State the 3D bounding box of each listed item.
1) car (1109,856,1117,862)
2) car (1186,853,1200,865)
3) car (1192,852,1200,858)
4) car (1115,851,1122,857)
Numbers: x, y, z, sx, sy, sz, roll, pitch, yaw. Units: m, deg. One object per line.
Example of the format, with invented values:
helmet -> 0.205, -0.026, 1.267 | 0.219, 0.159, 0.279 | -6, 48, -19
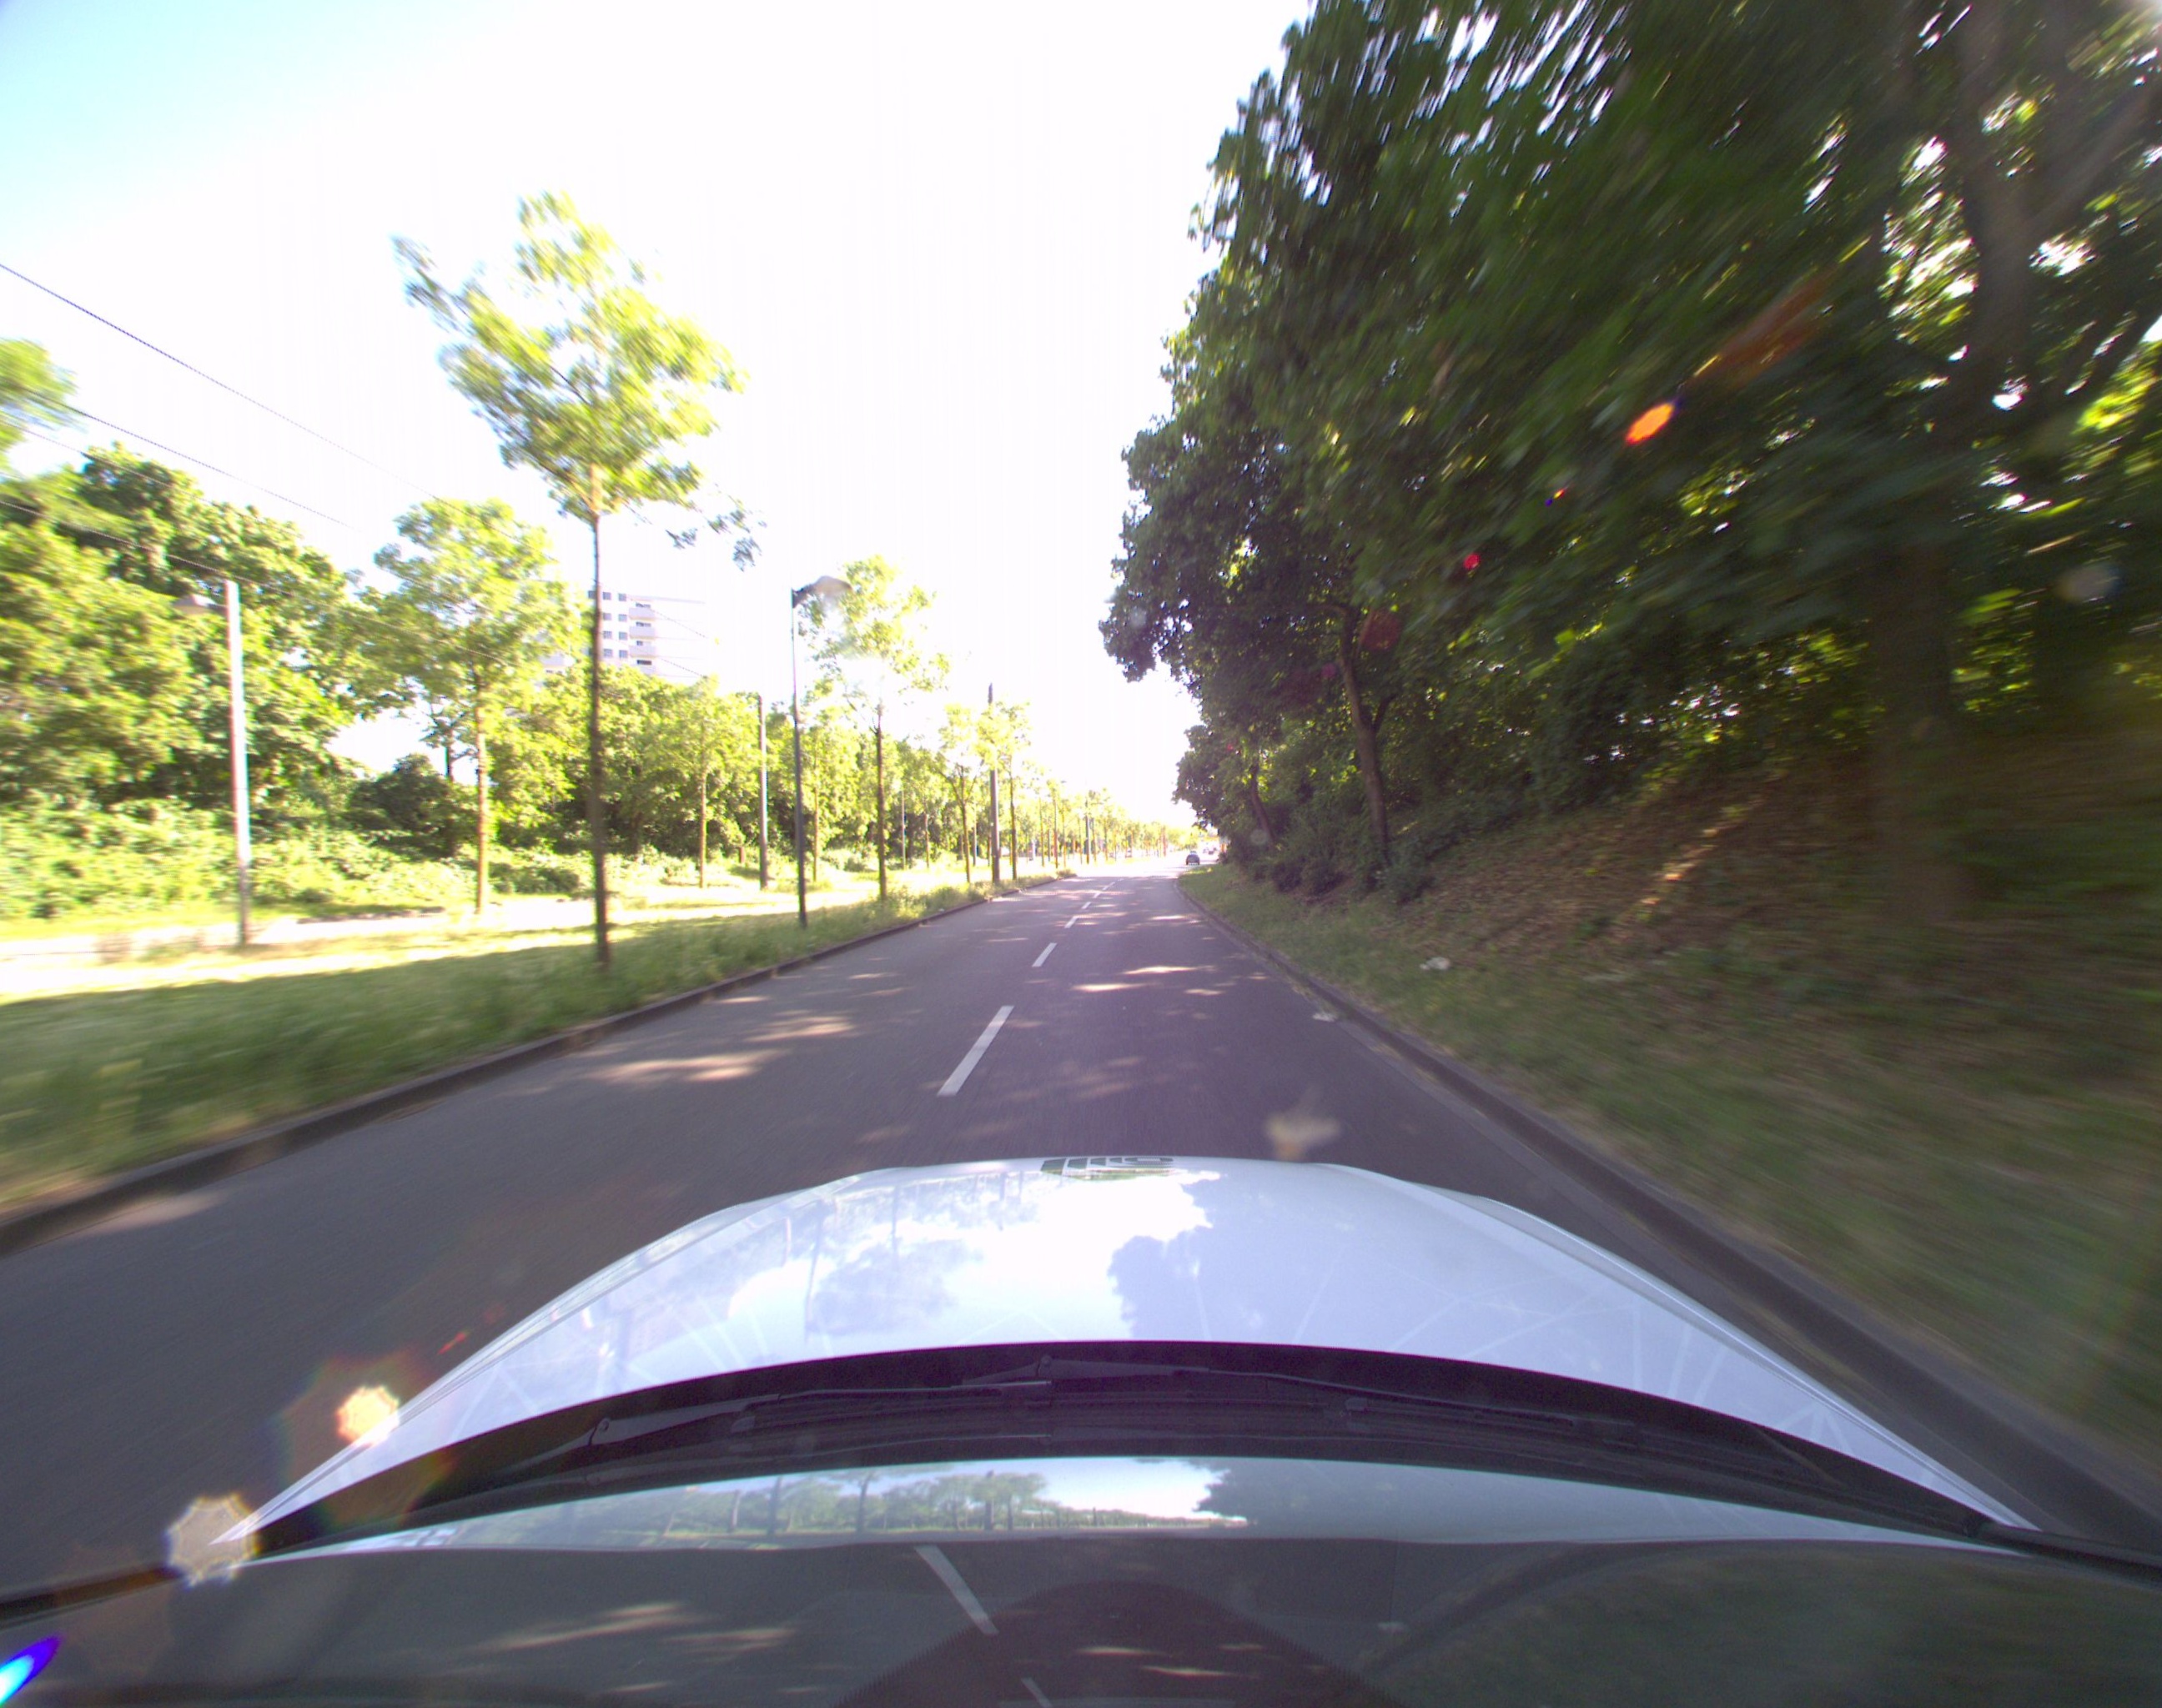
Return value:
car -> 8.656, 1.313, 221.020 | 1.621, 1.680, 4.202 | -1, 0, 8
car -> 14.802, 0.671, 107.564 | 1.624, 1.498, 4.247 | -1, 0, 11
car -> 27.618, 0.255, 195.032 | 1.624, 1.498, 4.247 | -1, 0, 11
car -> 10.890, -0.092, 237.326 | 1.621, 1.680, 4.202 | -1, 0, 8
